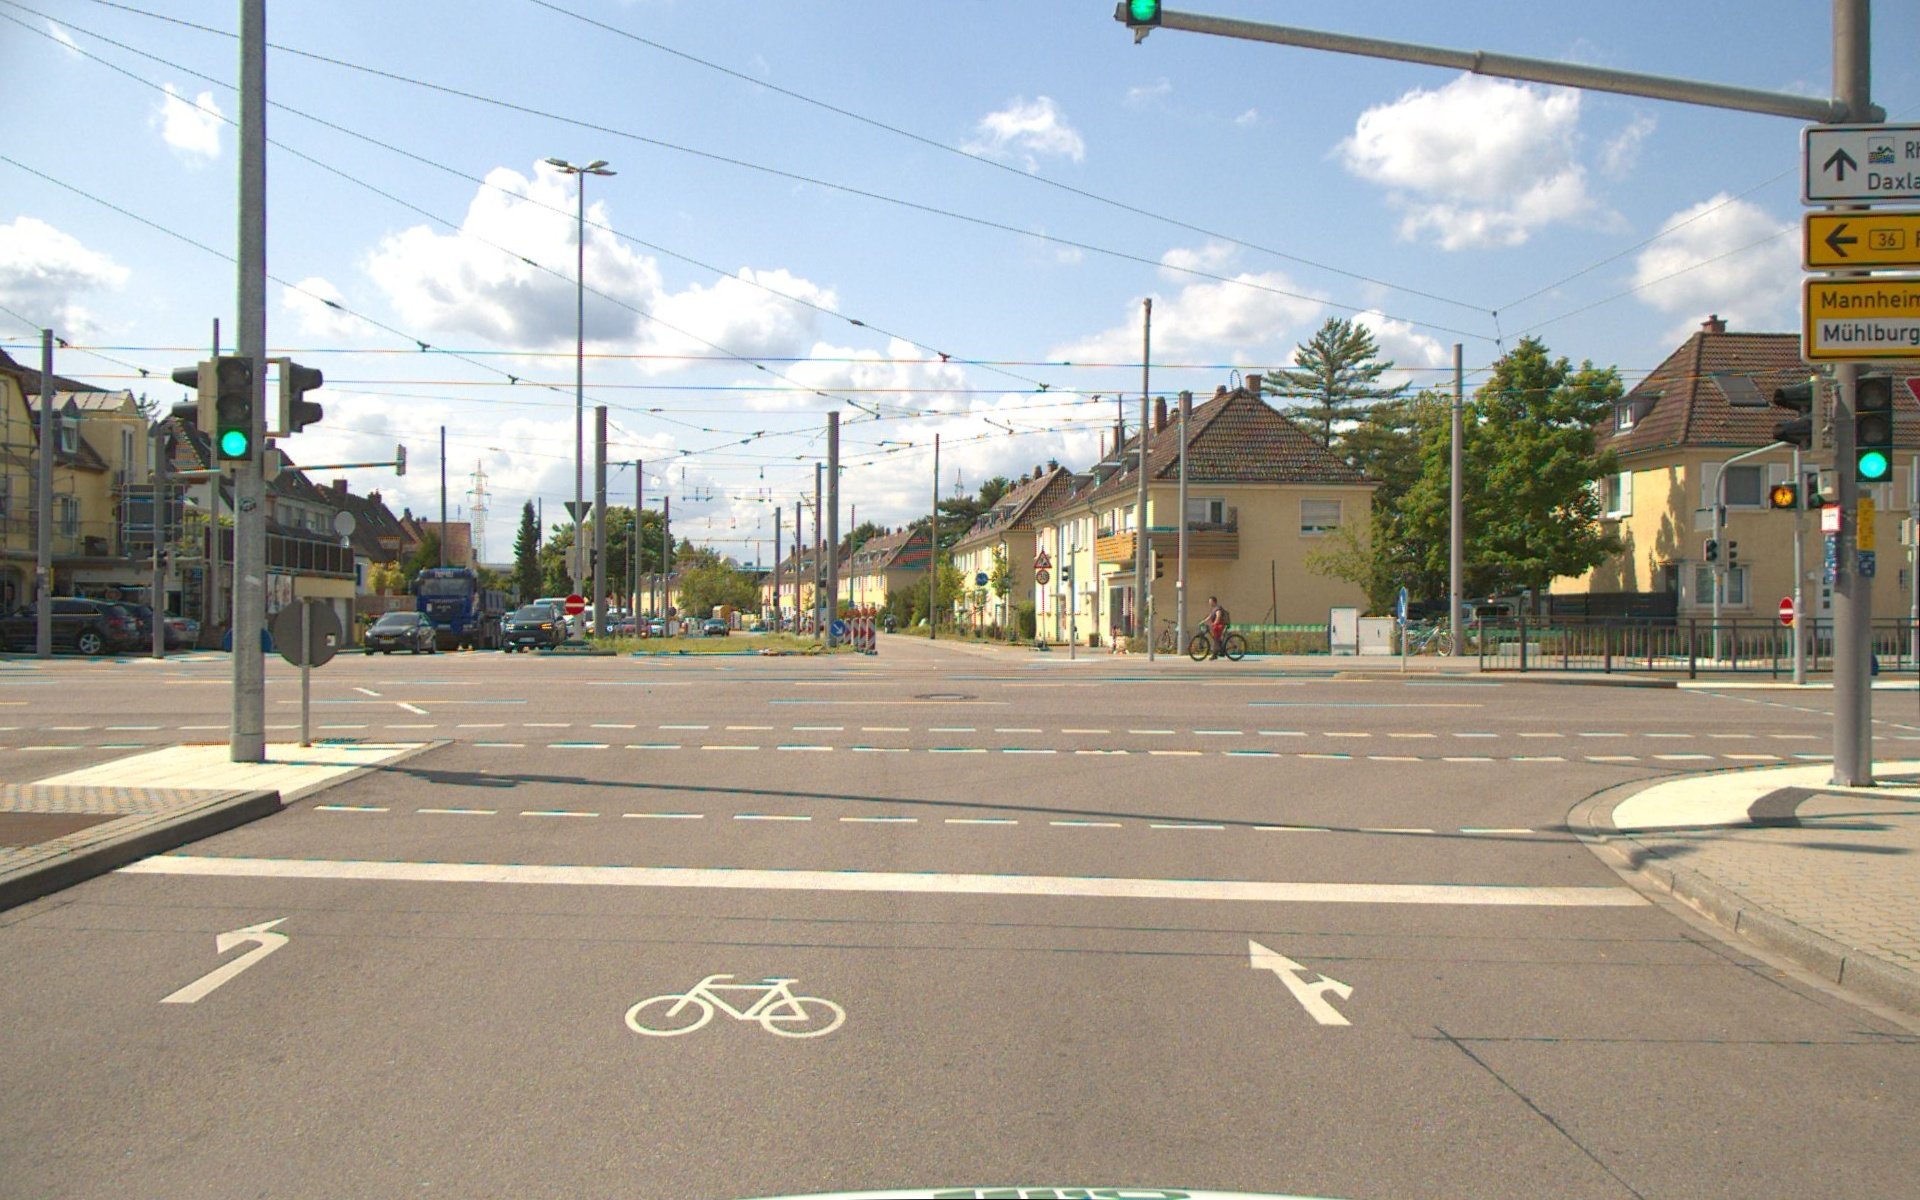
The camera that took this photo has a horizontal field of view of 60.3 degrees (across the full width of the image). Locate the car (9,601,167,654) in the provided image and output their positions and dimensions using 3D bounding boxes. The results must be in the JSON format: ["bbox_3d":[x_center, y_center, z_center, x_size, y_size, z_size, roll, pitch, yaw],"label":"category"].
[{"bbox_3d":[-27.300,0.866,51.865,4.058,1.519,1.504,2,-1,-9],"label":"car"}]

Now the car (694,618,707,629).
[{"bbox_3d":[-35.928,3.283,228.942,1.241,1.451,2.645,0,-1,-24],"label":"car"}]

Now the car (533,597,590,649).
[{"bbox_3d":[-15.792,0.907,65.715,1.780,1.955,4.738,0,-1,-9],"label":"car"}]

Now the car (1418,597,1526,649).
[{"bbox_3d":[17.055,0.797,55.274,1.789,1.649,3.990,0,-2,-10],"label":"car"}]

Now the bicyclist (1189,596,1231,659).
[{"bbox_3d":[7.174,0.783,47.489,0.944,1.806,0.715,0,-1,-22],"label":"bicyclist"}]

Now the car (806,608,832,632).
[{"bbox_3d":[-13.450,1.895,157.037,2.028,2.187,4.866,0,-1,-10],"label":"car"}]

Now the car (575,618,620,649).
[{"bbox_3d":[-17.626,1.620,80.496,1.879,1.444,3.992,0,-1,-9],"label":"car"}]

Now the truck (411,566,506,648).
[{"bbox_3d":[-20.926,0.314,69.347,2.717,3.244,7.567,0,-1,-9],"label":"truck"}]

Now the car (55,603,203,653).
[{"bbox_3d":[-27.372,0.913,54.575,4.058,1.519,1.432,2,-1,-9],"label":"car"}]

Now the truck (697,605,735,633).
[{"bbox_3d":[-32.024,2.468,217.001,2.606,3.555,9.366,0,-1,-24],"label":"truck"}]

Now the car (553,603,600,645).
[{"bbox_3d":[-17.020,1.046,73.565,1.700,1.813,4.396,0,-1,-9],"label":"car"}]

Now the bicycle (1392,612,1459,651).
[{"bbox_3d":[13.725,0.921,48.742,1.773,1.124,0.699,0,-1,39],"label":"bicycle"}]

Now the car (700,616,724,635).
[{"bbox_3d":[-22.145,2.283,147.930,1.783,1.579,3.997,0,0,-4],"label":"car"}]

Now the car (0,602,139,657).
[{"bbox_3d":[-26.819,0.866,49.196,4.058,1.519,1.177,2,-1,-9],"label":"car"}]

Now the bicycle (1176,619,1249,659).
[{"bbox_3d":[7.262,1.118,47.528,1.999,1.121,0.710,0,-1,-22],"label":"bicycle"}]

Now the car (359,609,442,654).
[{"bbox_3d":[-19.494,1.097,57.762,1.792,1.513,4.328,0,-1,-6],"label":"car"}]

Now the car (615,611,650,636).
[{"bbox_3d":[-20.499,1.446,103.618,1.808,1.520,4.848,0,-1,-7],"label":"car"}]

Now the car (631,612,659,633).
[{"bbox_3d":[-23.965,1.708,125.802,1.808,1.589,4.180,0,-1,-7],"label":"car"}]

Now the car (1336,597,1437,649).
[{"bbox_3d":[14.294,0.798,55.596,1.789,1.649,3.990,0,-2,-10],"label":"car"}]

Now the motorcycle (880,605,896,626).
[{"bbox_3d":[-5.737,1.232,131.939,1.046,1.664,2.079,0,-1,-9],"label":"motorcycle"}]

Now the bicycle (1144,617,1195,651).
[{"bbox_3d":[6.992,1.125,55.302,0.586,1.116,2.258,0,-1,-26],"label":"bicycle"}]

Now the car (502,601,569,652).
[{"bbox_3d":[-15.173,0.908,59.308,1.752,1.751,4.434,0,0,-7],"label":"car"}]
